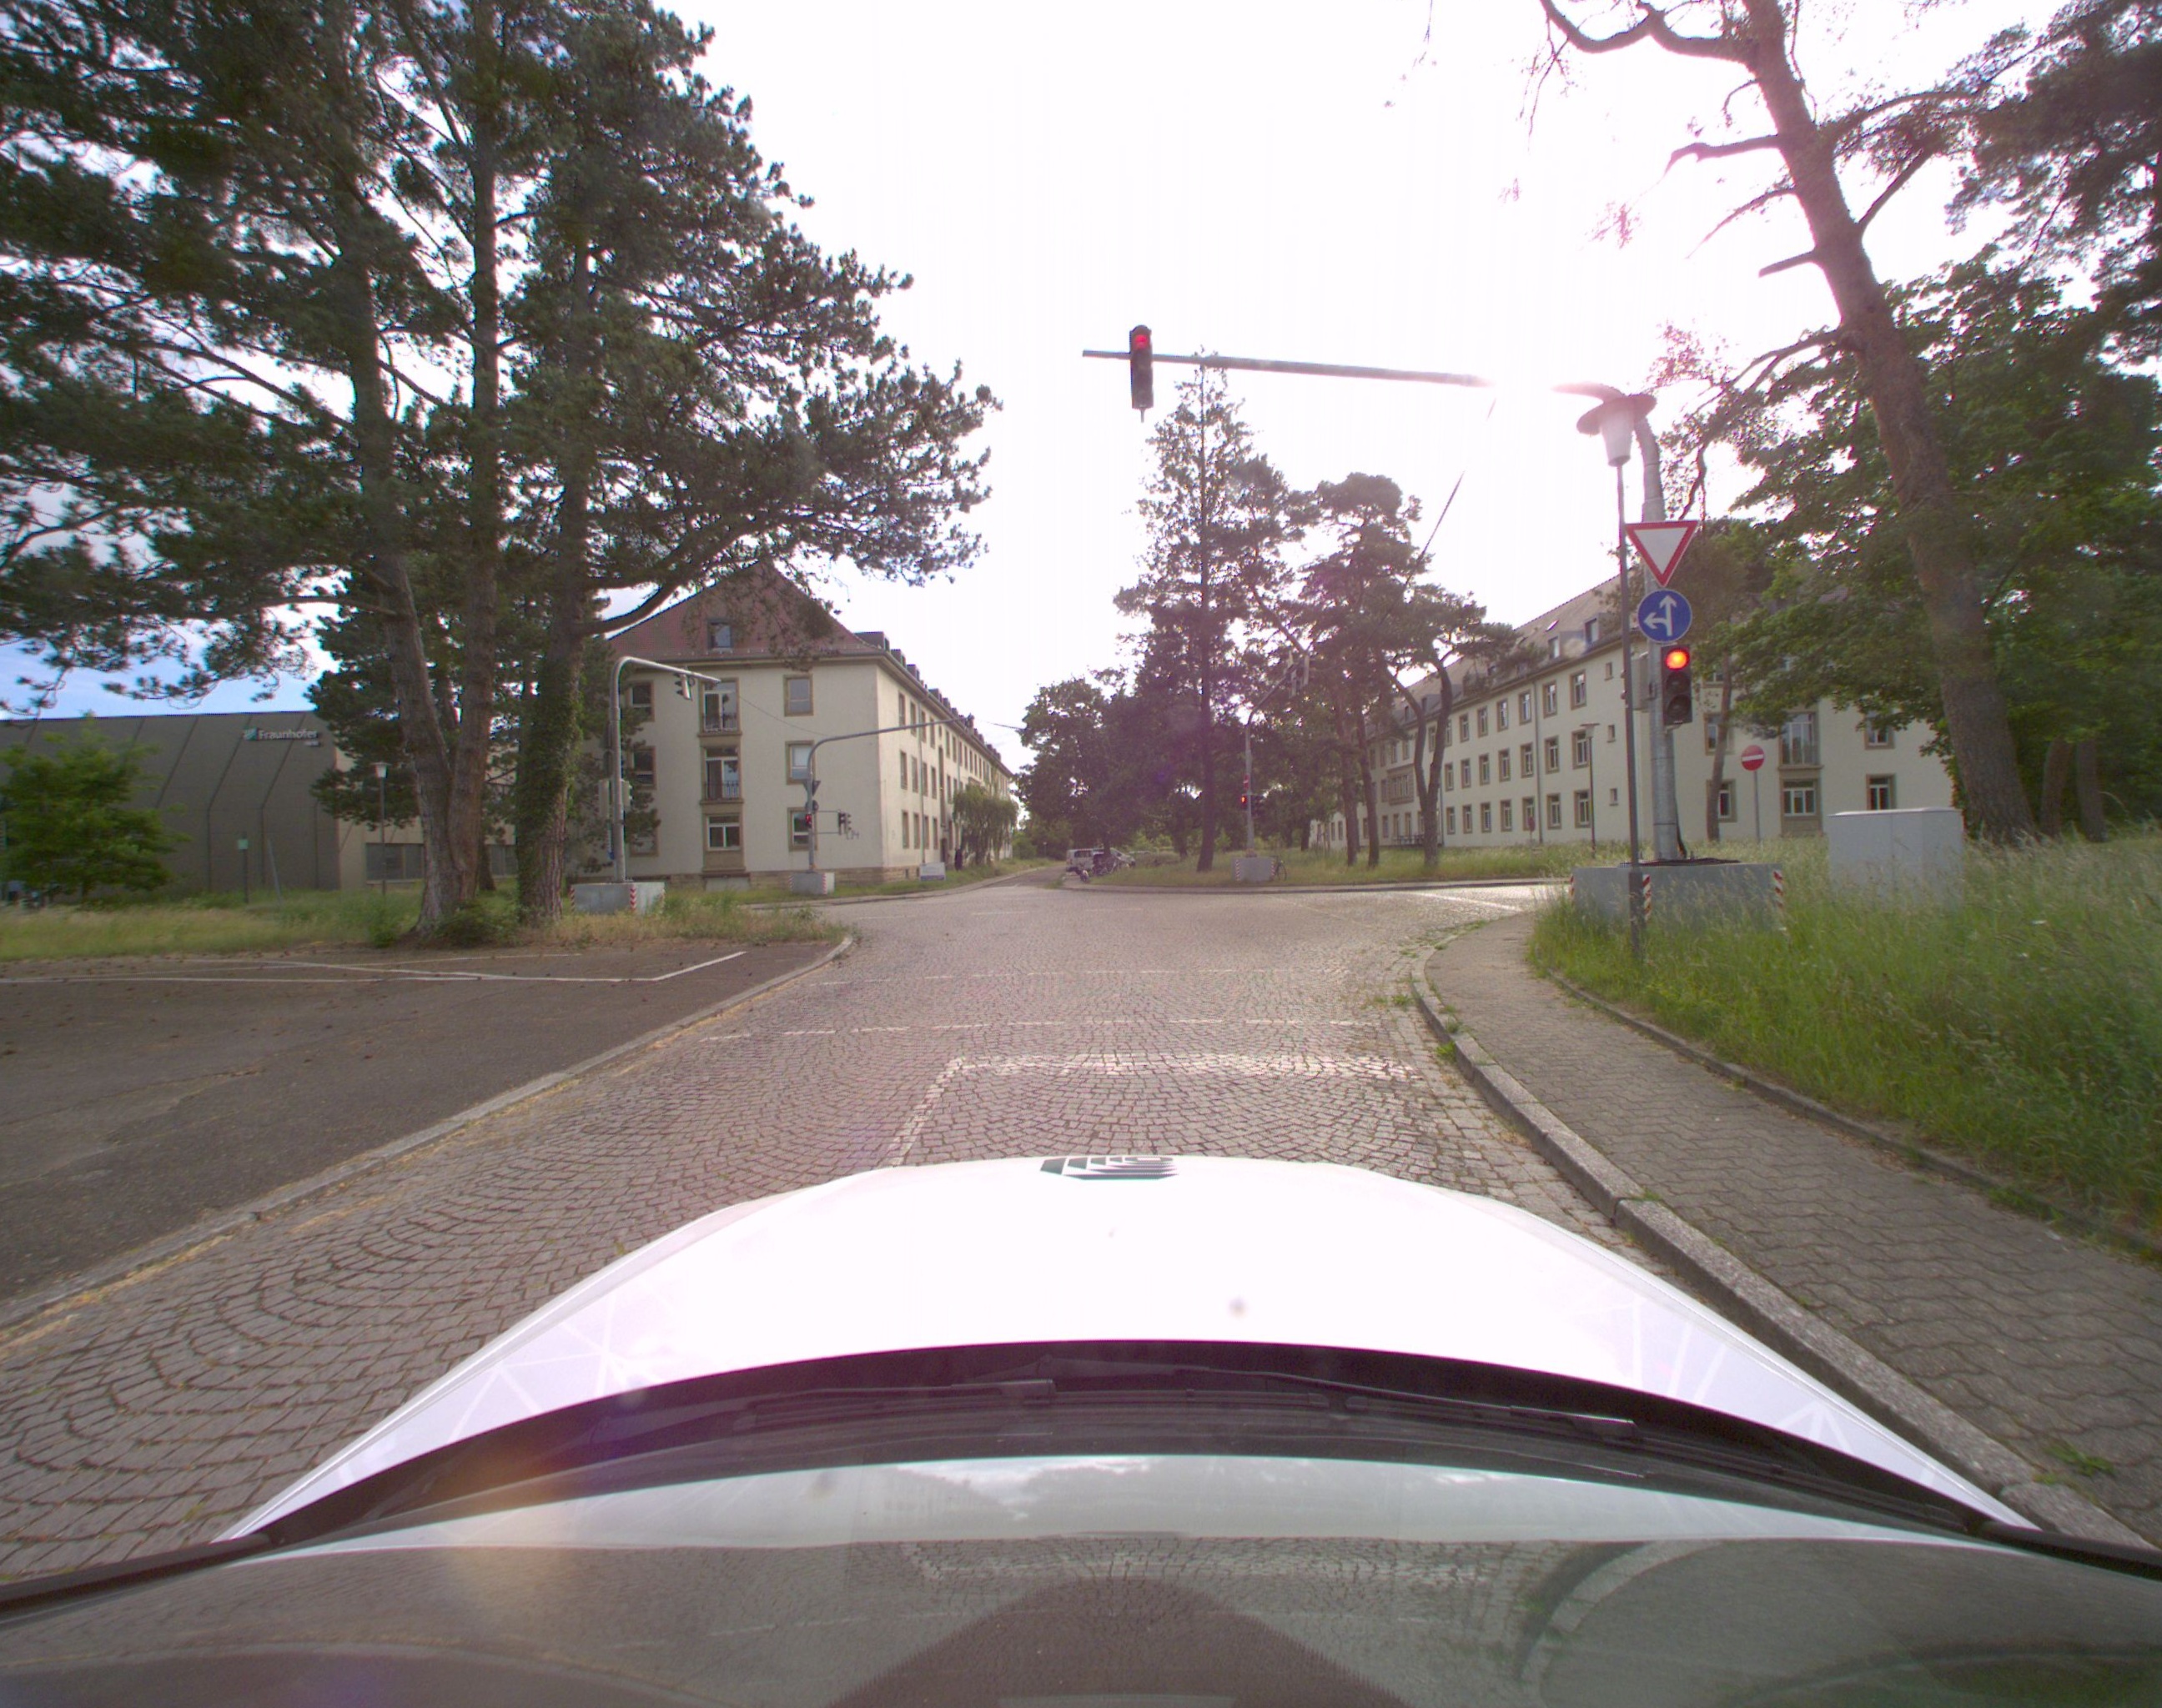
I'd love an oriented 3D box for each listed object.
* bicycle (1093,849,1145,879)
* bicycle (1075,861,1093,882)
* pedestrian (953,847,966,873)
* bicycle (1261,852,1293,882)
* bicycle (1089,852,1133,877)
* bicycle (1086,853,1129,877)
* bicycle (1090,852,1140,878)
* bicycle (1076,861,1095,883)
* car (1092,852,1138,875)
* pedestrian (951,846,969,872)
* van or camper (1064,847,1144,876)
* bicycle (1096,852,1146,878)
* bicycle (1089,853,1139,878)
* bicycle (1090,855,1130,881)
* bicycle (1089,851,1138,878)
[{"bbox_3d":[2.102,0.536,45.124,2.794,1.583,0.950,-2,0,-1],"label":"bicycle"},{"bbox_3d":[0.161,0.892,42.357,0.724,0.996,1.981,-2,0,5],"label":"bicycle"},{"bbox_3d":[-8.899,0.432,59.631,0.865,1.932,0.834,0,-1,-11],"label":"pedestrian"},{"bbox_3d":[7.554,0.498,31.535,0.643,1.062,1.832,-6,0,-2],"label":"bicycle"},{"bbox_3d":[1.773,0.634,48.445,2.560,1.372,0.950,-2,0,-1],"label":"bicycle"},{"bbox_3d":[1.618,0.650,50.123,2.560,1.372,0.950,-2,0,-1],"label":"bicycle"},{"bbox_3d":[1.926,0.645,46.588,2.794,1.372,0.950,-2,0,-1],"label":"bicycle"},{"bbox_3d":[0.209,0.873,40.265,0.898,0.996,1.978,-2,0,0],"label":"bicycle"},{"bbox_3d":[2.419,0.670,58.250,3.215,1.621,1.937,-1,-1,-1],"label":"car"},{"bbox_3d":[-8.746,0.377,58.799,1.194,1.870,1.545,-1,-1,-10],"label":"pedestrian"},{"bbox_3d":[1.719,0.529,61.764,5.746,1.957,2.228,-2,0,-12],"label":"van or camper"},{"bbox_3d":[2.245,0.637,46.053,2.794,1.372,0.950,-2,0,-1],"label":"bicycle"},{"bbox_3d":[1.908,0.653,47.482,2.794,1.372,0.950,-2,0,-1],"label":"bicycle"},{"bbox_3d":[1.554,0.734,43.642,2.106,1.306,0.874,-2,0,0],"label":"bicycle"},{"bbox_3d":[1.746,0.561,44.254,2.611,1.367,0.874,-2,0,-1],"label":"bicycle"}]
